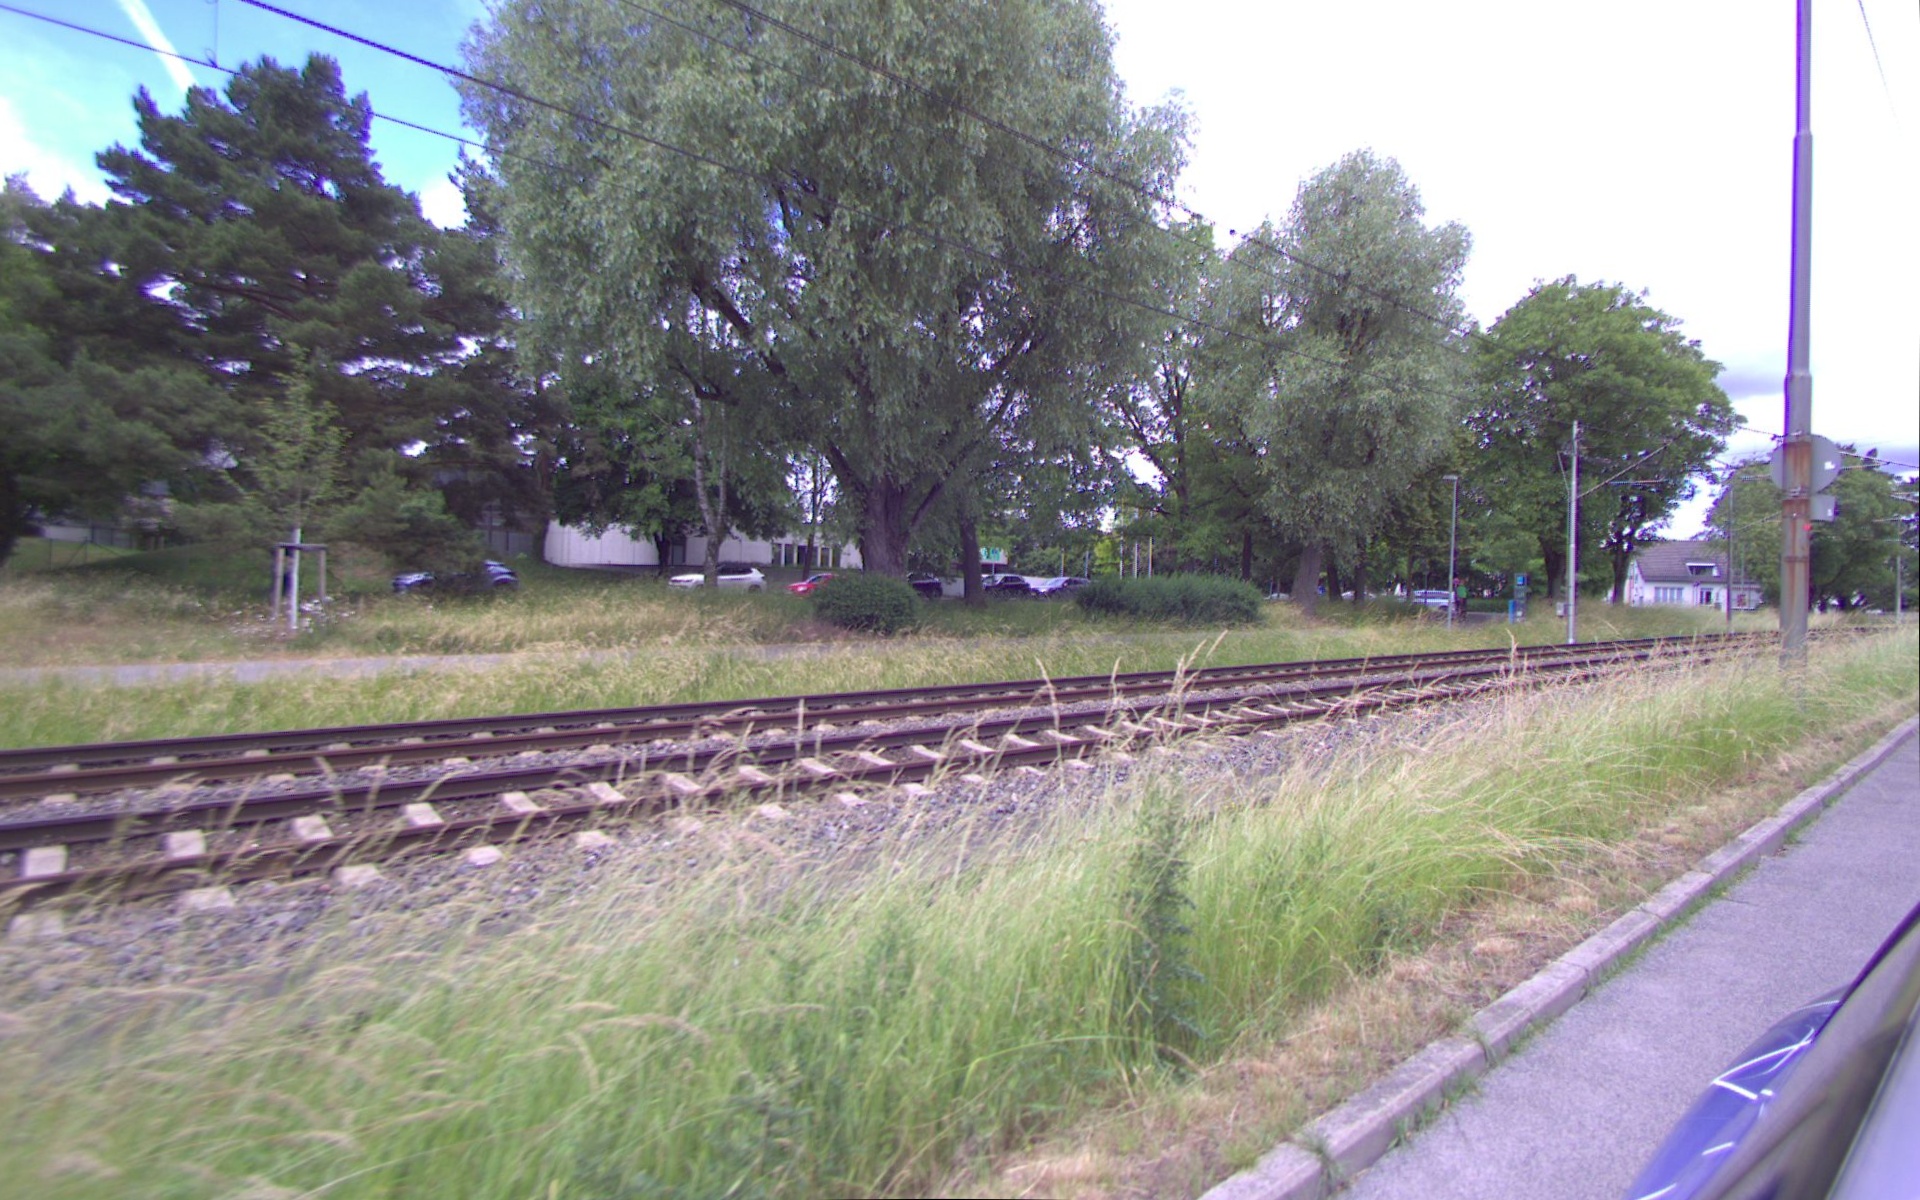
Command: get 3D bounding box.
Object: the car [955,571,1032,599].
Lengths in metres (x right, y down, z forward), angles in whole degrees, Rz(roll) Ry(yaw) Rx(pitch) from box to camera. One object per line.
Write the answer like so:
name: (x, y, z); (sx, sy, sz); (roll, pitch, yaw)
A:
car: (1.849, -0.832, 55.266); (3.930, 1.461, 1.997); (0, 1, -41)

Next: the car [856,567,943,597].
car: (-3.019, -0.897, 50.866); (3.930, 1.461, 1.997); (0, 1, -41)

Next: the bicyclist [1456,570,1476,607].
bicyclist: (23.626, -0.522, 47.256); (0.920, 1.717, 0.581); (0, 1, -44)

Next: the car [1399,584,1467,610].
car: (36.588, -0.223, 78.357); (4.667, 1.884, 1.900); (2, 1, 26)

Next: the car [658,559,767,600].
car: (-10.779, -0.863, 44.194); (4.155, 1.721, 1.997); (0, 0, -41)

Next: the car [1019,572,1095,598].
car: (5.651, -0.883, 58.674); (4.270, 1.461, 1.997); (0, 1, -41)

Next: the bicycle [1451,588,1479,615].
bicycle: (23.530, 0.068, 47.156); (1.898, 1.262, 0.581); (0, 1, -45)

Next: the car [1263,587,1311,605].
car: (26.877, -0.317, 83.186); (3.490, 1.350, 1.659); (2, 1, 26)

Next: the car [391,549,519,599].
car: (-18.593, -0.916, 37.319); (3.928, 1.721, 1.998); (0, 0, -39)

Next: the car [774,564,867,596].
car: (-6.560, -0.922, 47.839); (3.930, 1.461, 1.997); (0, 1, -41)
